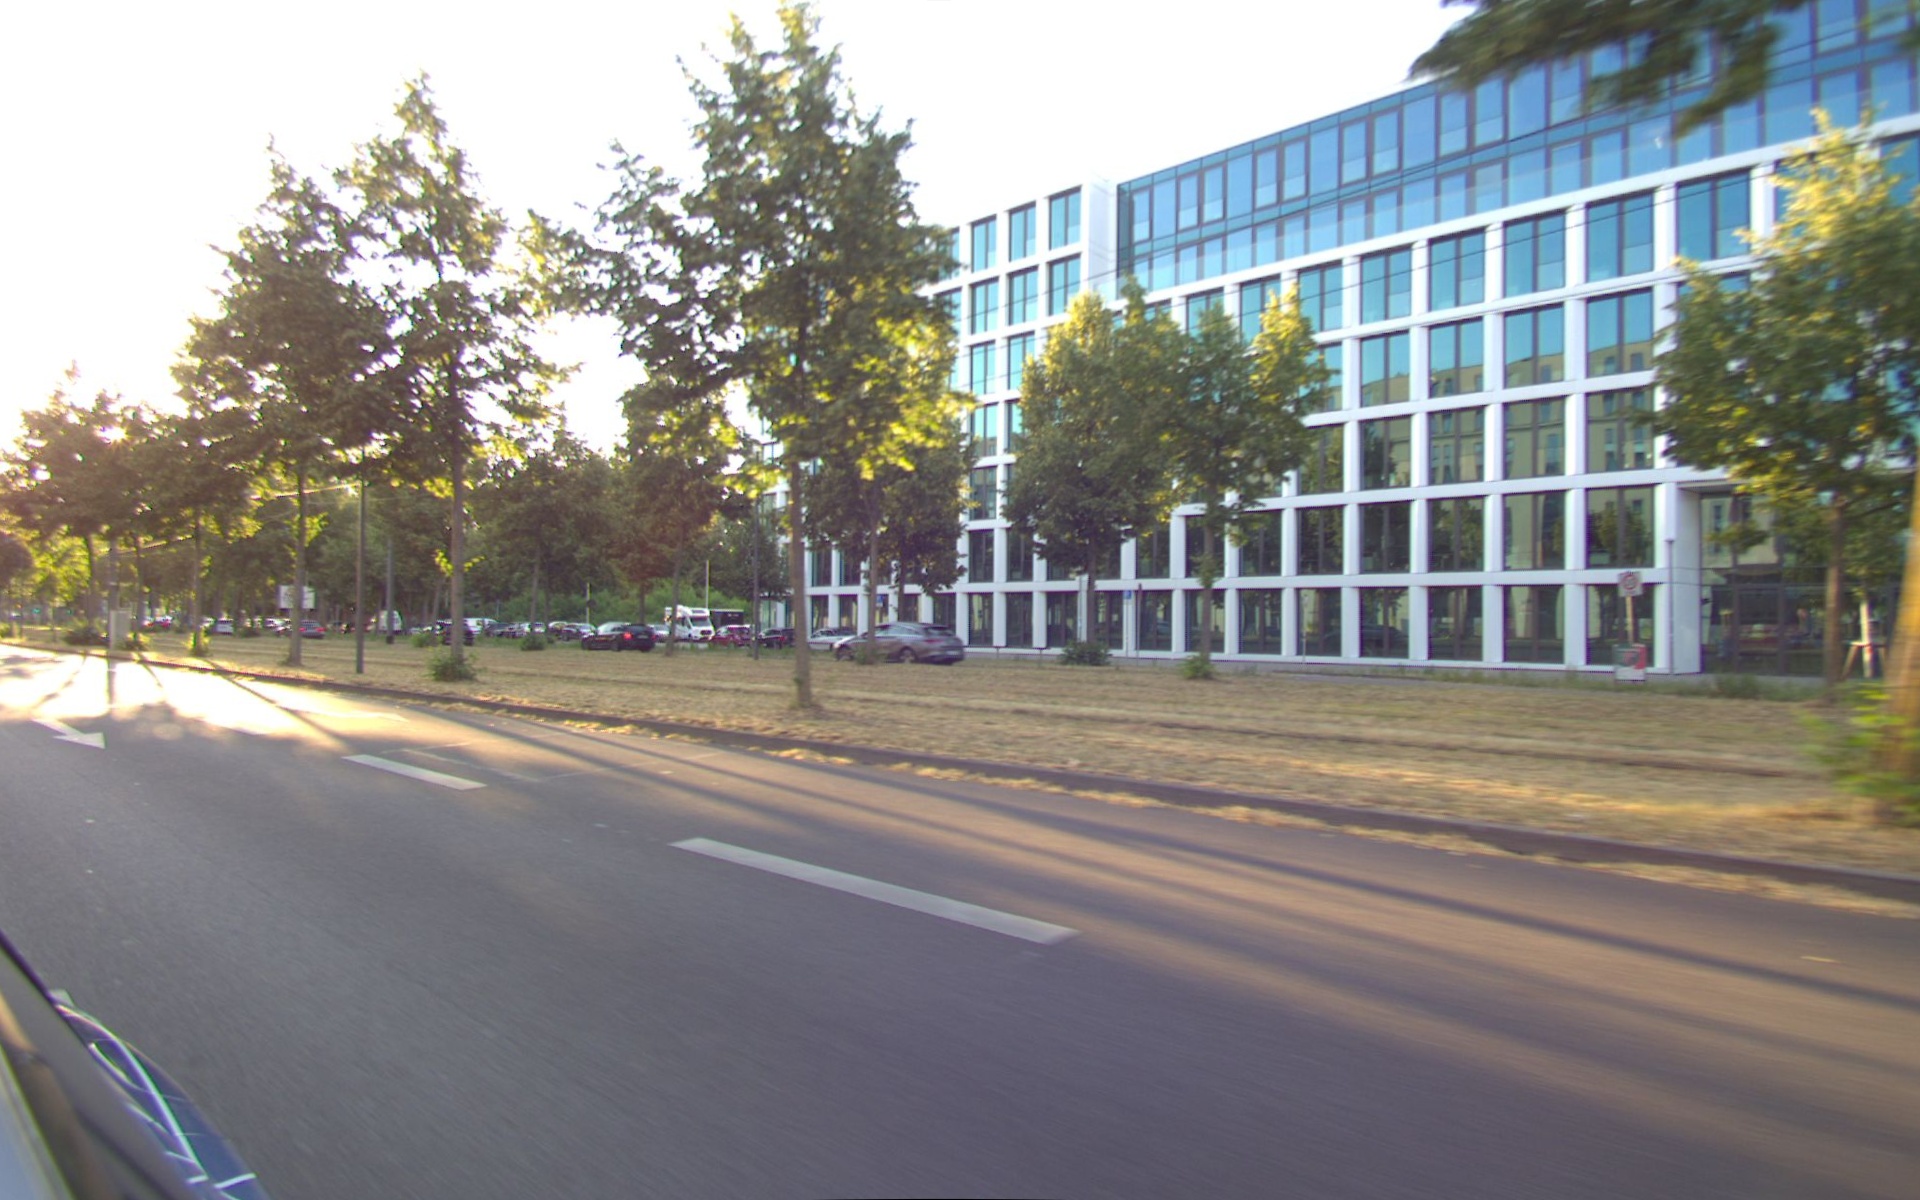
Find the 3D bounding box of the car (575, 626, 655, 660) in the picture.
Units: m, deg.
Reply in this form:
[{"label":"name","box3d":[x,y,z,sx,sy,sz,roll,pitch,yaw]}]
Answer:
[{"label":"car","box3d":[-16.227,1.984,47.544,4.186,1.513,1.640,-1,-2,40]}]

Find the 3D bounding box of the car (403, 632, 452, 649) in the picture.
[{"label":"car","box3d":[-53.485,4.007,101.597,1.922,1.652,3.943,-2,-2,43]}]

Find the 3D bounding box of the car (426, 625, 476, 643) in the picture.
[{"label":"car","box3d":[-49.371,3.290,98.194,1.919,1.652,3.949,-1,-2,38]}]

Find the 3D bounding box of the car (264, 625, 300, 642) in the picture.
[{"label":"car","box3d":[-73.426,3.643,109.594,4.788,1.763,1.973,-1,-2,41]}]

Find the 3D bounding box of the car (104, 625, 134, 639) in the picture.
[{"label":"car","box3d":[-95.887,3.674,115.387,4.179,1.590,1.866,-1,-2,40]}]

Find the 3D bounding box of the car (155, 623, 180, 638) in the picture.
[{"label":"car","box3d":[-77.661,2.954,99.176,2.938,1.409,1.443,-1,-2,43]}]

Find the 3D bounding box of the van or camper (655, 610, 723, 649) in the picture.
[{"label":"van or camper","box3d":[-22.517,2.450,83.871,2.679,3.109,6.265,1,-2,-45]}]

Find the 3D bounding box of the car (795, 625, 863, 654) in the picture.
[{"label":"car","box3d":[-7.476,2.229,57.482,3.783,1.594,1.840,-1,-2,42]}]

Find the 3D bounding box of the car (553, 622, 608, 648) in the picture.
[{"label":"car","box3d":[-30.205,2.770,80.539,4.929,2.029,1.973,-1,-2,41]}]

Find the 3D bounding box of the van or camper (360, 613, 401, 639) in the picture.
[{"label":"van or camper","box3d":[-62.451,2.771,109.016,5.490,2.756,2.063,-1,-2,40]}]

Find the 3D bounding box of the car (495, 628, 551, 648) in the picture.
[{"label":"car","box3d":[-37.294,3.226,86.472,1.919,1.652,3.949,-1,-2,38]}]

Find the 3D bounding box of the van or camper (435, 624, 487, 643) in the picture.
[{"label":"van or camper","box3d":[-47.247,3.155,95.855,1.993,1.805,3.958,-1,-2,31]}]

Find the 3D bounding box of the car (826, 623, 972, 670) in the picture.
[{"label":"car","box3d":[-1.909,1.362,30.661,4.580,1.342,1.640,-1,-2,40]}]

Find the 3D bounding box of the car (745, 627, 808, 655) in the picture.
[{"label":"car","box3d":[-10.893,2.379,59.943,3.664,1.594,1.840,-1,-2,42]}]

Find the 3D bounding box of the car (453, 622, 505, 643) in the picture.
[{"label":"car","box3d":[-44.709,3.001,94.075,2.012,1.858,3.944,-1,-2,42]}]

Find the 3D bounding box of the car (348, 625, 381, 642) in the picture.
[{"label":"car","box3d":[-66.265,3.717,112.577,3.998,1.763,1.973,-1,-2,41]}]

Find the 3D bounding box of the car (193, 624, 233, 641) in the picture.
[{"label":"car","box3d":[-62.280,2.708,84.311,4.526,1.342,1.640,-1,-2,40]}]

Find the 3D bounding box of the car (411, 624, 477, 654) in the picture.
[{"label":"car","box3d":[-27.136,2.026,53.197,3.725,1.559,1.784,-1,-2,40]}]

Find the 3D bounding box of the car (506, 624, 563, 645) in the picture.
[{"label":"car","box3d":[-35.377,2.843,84.212,1.919,1.652,3.949,-1,-2,38]}]

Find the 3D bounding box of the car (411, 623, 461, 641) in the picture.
[{"label":"car","box3d":[-51.325,3.120,99.211,1.919,1.652,3.949,-1,-2,38]}]

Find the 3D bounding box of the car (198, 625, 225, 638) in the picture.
[{"label":"car","box3d":[-94.079,3.945,127.140,4.306,1.511,1.879,-1,-2,42]}]

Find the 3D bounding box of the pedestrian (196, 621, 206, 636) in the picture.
[{"label":"pedestrian","box3d":[-92.927,3.463,123.857,0.864,1.884,0.687,-1,-2,34]}]

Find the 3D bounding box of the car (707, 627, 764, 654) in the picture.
[{"label":"car","box3d":[-14.024,2.496,63.115,3.491,1.594,1.840,-1,-2,42]}]

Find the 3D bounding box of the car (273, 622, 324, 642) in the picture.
[{"label":"car","box3d":[-45.768,2.225,70.011,4.738,1.342,1.640,-1,-2,40]}]

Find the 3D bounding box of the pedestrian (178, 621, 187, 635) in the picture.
[{"label":"pedestrian","box3d":[-94.553,3.423,123.029,0.865,1.756,0.686,-1,-2,39]}]
